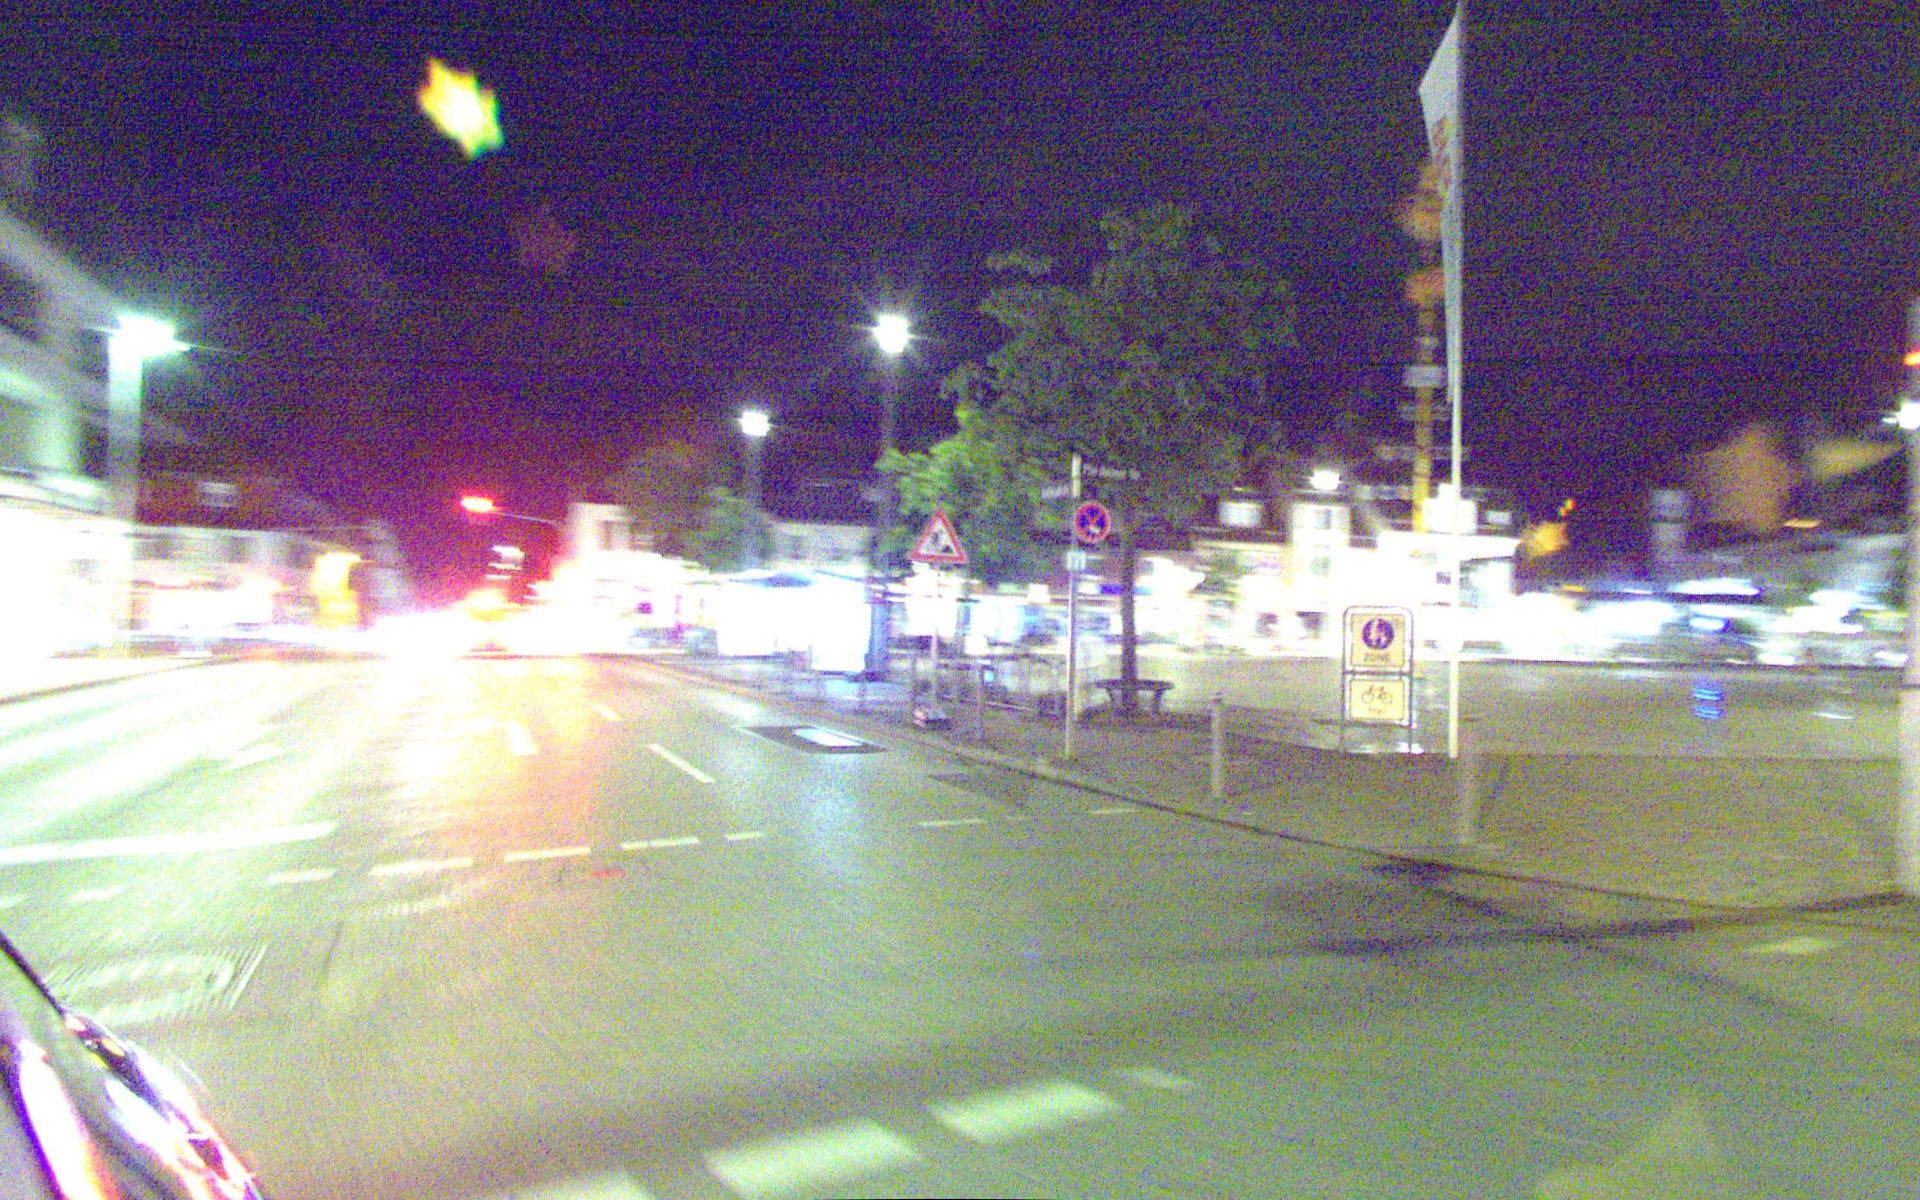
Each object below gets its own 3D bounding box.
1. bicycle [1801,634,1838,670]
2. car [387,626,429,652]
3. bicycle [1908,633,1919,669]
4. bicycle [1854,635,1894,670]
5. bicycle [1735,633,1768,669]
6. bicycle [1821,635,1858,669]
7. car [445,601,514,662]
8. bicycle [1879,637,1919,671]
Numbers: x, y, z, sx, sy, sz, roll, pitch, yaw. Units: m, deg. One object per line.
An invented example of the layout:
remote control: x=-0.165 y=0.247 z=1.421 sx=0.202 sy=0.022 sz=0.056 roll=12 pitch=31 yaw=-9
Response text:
bicycle: x=29.667 y=1.783 z=34.953 sx=0.606 sy=1.174 sz=1.730 roll=-1 pitch=-1 yaw=29
car: x=-35.131 y=2.460 z=64.530 sx=1.965 sy=1.583 sz=4.013 roll=0 pitch=-1 yaw=-23
bicycle: x=32.931 y=1.741 z=34.412 sx=0.606 sy=1.174 sz=1.729 roll=-1 pitch=-1 yaw=29
bicycle: x=31.246 y=1.790 z=34.630 sx=0.606 sy=1.133 sz=1.730 roll=-1 pitch=-1 yaw=29
bicycle: x=27.863 y=1.782 z=35.628 sx=0.606 sy=1.228 sz=1.730 roll=-1 pitch=-1 yaw=29
bicycle: x=30.425 y=1.783 z=35.030 sx=0.606 sy=1.109 sz=1.730 roll=-1 pitch=-1 yaw=29
car: x=-16.751 y=1.068 z=35.160 sx=1.927 sy=1.951 sz=4.432 roll=0 pitch=-1 yaw=-28
bicycle: x=32.021 y=1.799 z=34.194 sx=0.602 sy=1.078 sz=1.741 roll=-1 pitch=-1 yaw=11
